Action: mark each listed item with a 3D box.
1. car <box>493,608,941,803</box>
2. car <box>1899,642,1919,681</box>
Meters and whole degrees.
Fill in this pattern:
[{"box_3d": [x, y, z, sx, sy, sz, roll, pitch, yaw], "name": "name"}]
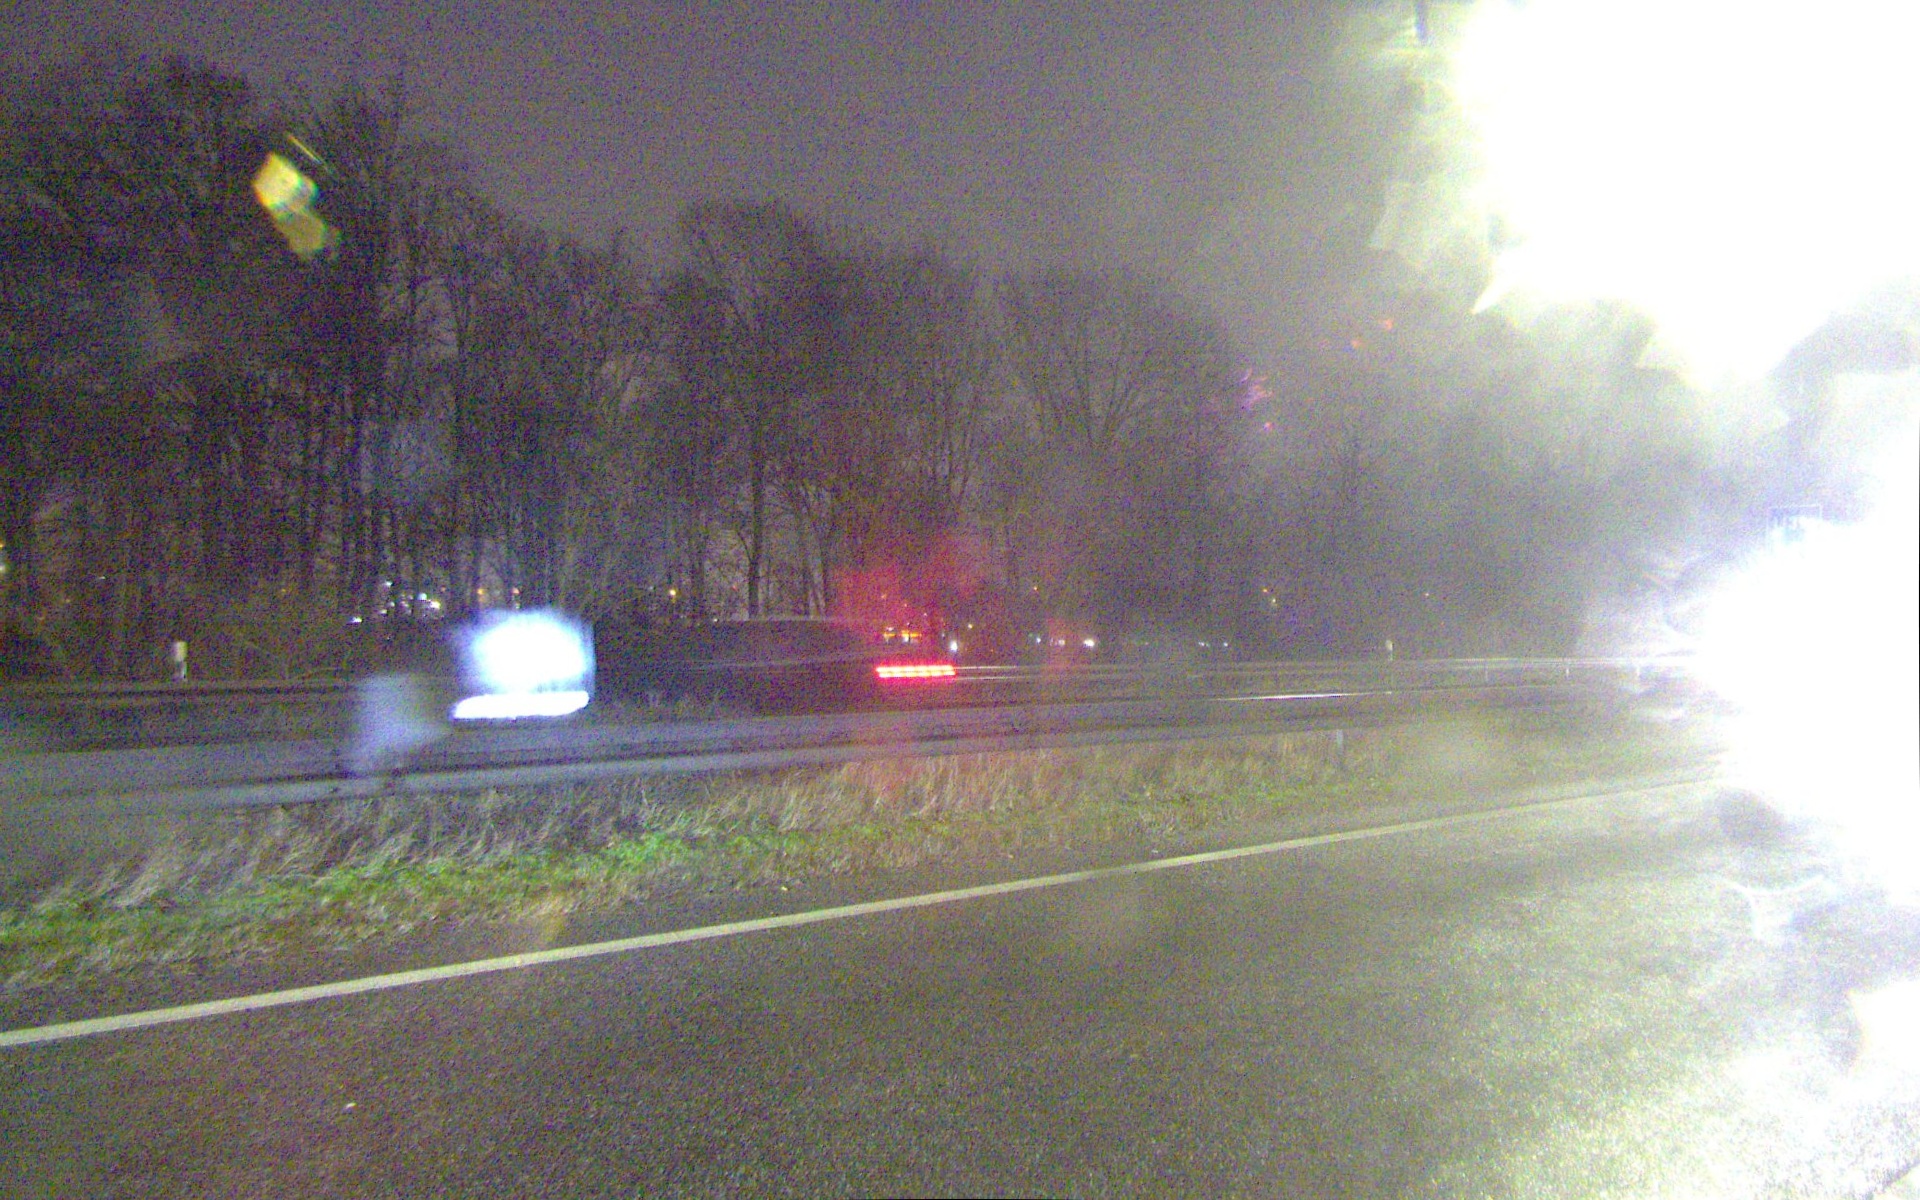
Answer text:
[{"box_3d": [-2.334, 0.901, 9.900, 3.964, 1.572, 1.743, 1, -1, -31], "name": "car"}, {"box_3d": [36.817, 2.256, 37.381, 4.114, 1.399, 1.603, 1, -3, -30], "name": "car"}]
